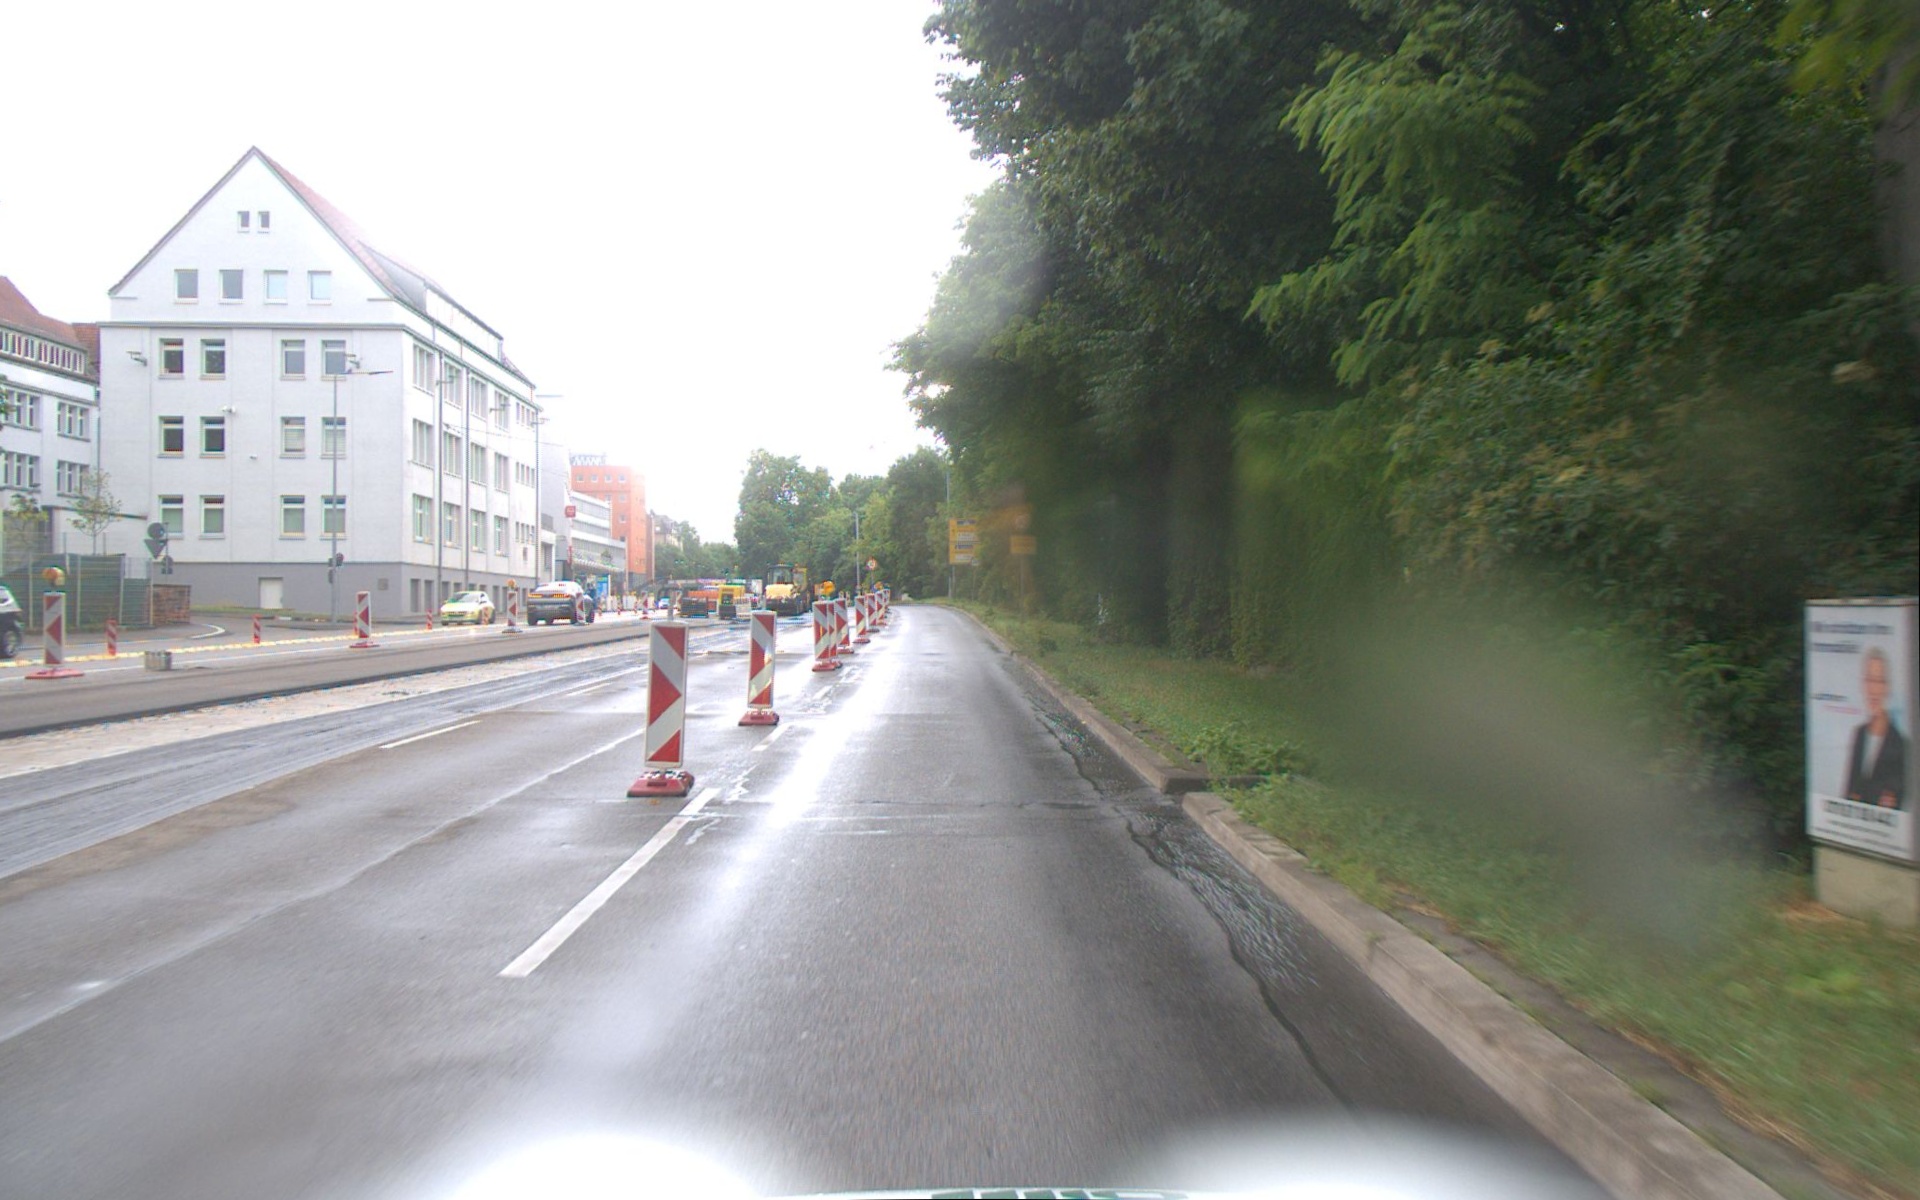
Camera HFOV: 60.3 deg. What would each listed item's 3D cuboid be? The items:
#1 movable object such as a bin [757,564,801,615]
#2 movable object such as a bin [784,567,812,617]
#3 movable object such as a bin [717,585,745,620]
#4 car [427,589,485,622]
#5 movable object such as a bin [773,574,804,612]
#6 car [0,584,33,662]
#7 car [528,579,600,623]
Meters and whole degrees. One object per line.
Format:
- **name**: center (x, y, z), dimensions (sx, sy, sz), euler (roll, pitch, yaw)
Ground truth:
- **movable object such as a bin**: center (-9.733, -0.570, 89.205), dimensions (1.863, 2.654, 5.381), euler (-1, 0, -1)
- **movable object such as a bin**: center (-10.216, -0.497, 104.559), dimensions (1.436, 3.061, 3.722), euler (-2, 0, -3)
- **movable object such as a bin**: center (-11.121, 0.102, 80.415), dimensions (1.061, 1.673, 2.438), euler (0, 0, -2)
- **car**: center (-22.558, 0.275, 73.944), dimensions (1.539, 1.392, 3.762), euler (-2, 0, -32)
- **movable object such as a bin**: center (-9.839, -0.434, 95.229), dimensions (1.335, 2.126, 5.029), euler (-1, 0, -1)
- **car**: center (-21.203, 0.522, 34.013), dimensions (1.821, 1.658, 4.328), euler (-2, 0, -1)
- **car**: center (-15.901, 0.040, 66.567), dimensions (1.854, 1.679, 4.395), euler (0, 0, 0)
